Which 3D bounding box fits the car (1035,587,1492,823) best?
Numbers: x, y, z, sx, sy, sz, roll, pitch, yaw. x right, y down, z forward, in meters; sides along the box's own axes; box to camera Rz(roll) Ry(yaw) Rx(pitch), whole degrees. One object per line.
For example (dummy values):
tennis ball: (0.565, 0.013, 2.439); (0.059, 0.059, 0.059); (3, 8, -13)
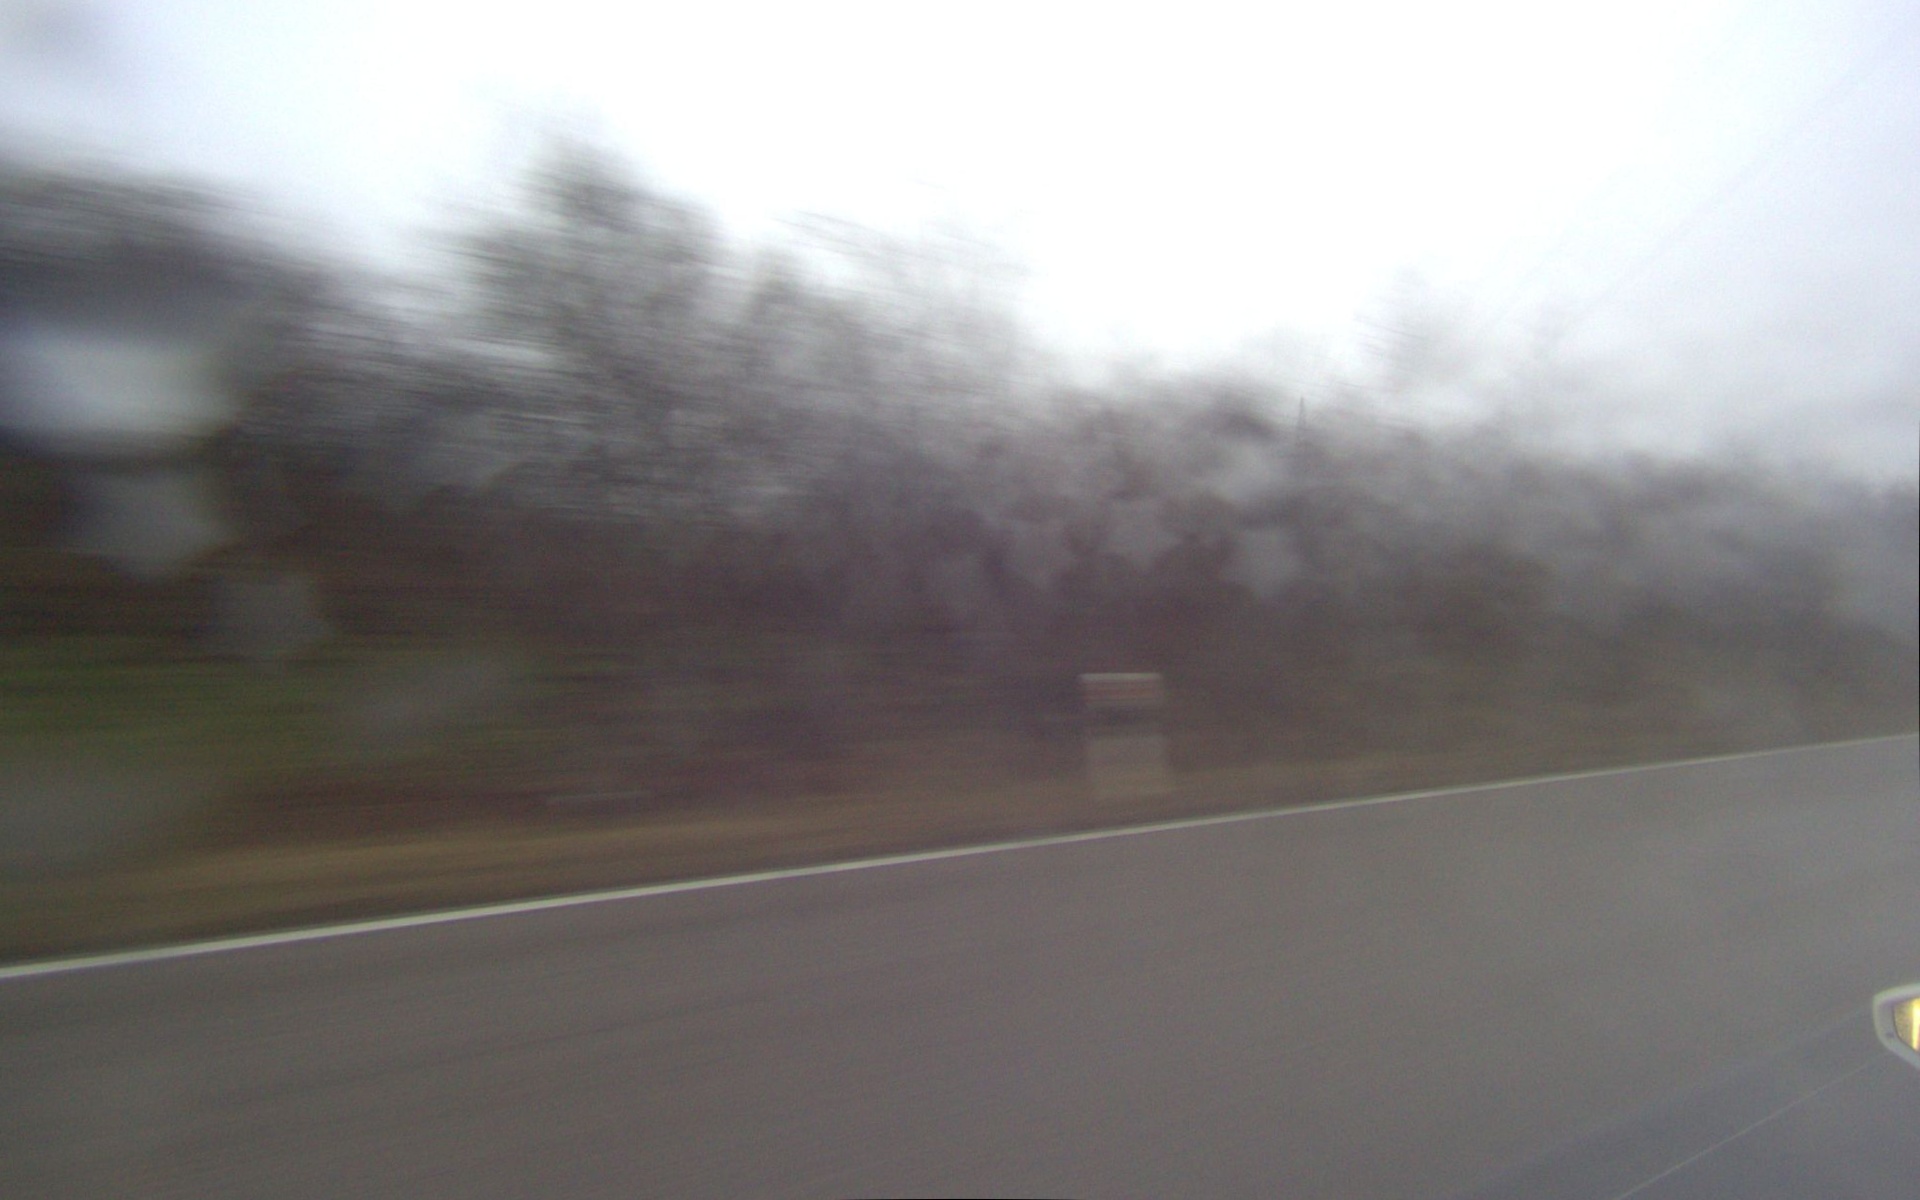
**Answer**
car: (2.675, 0.799, 8.694); (3.731, 1.630, 1.767); (2, -2, -31)
